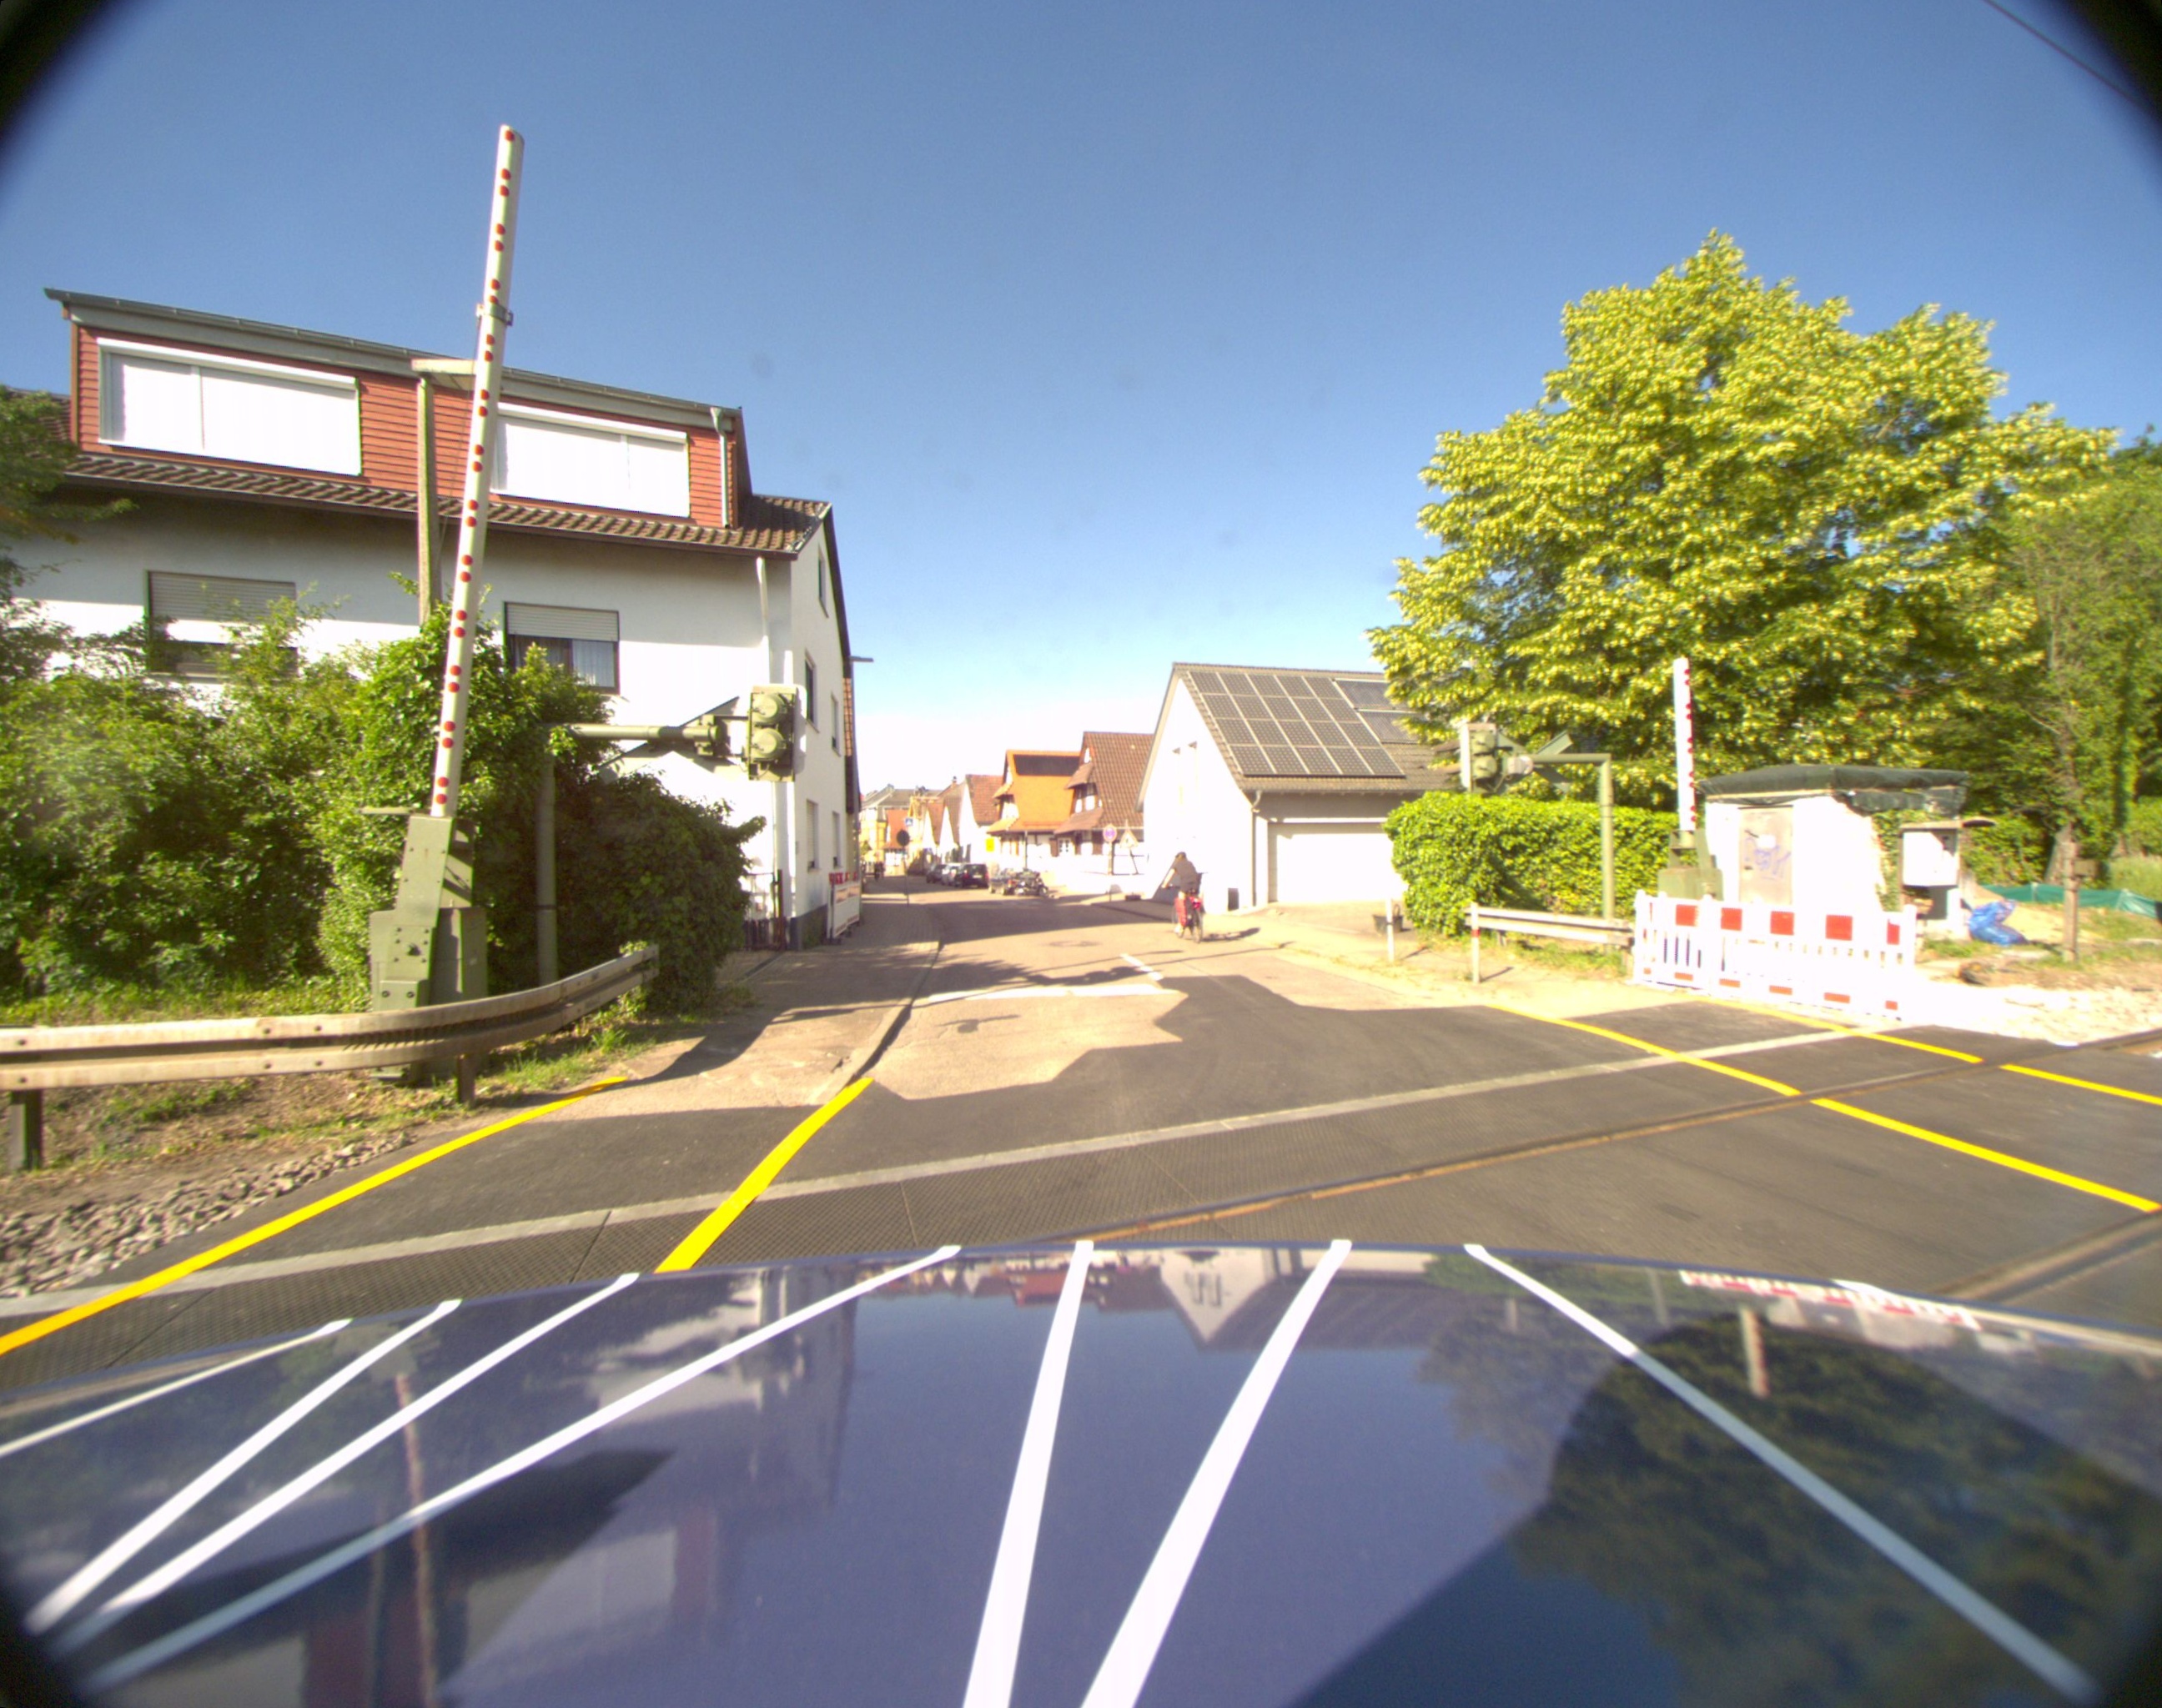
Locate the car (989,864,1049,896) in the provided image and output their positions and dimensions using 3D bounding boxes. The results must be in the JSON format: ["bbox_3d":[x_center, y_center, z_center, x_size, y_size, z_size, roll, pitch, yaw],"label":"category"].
[{"bbox_3d":[-3.170,1.233,37.751,1.852,1.398,5.028,0,0,-18],"label":"car"}]

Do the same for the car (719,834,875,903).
[{"bbox_3d":[-11.631,0.595,31.346,5.829,2.639,1.964,1,1,-22],"label":"car"}]

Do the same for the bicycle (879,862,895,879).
[{"bbox_3d":[-20.214,1.667,78.922,1.258,1.543,3.993,-4,2,-18],"label":"bicycle"}]

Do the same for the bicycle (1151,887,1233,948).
[{"bbox_3d":[2.056,1.171,14.446,0.886,0.999,2.061,0,0,-12],"label":"bicycle"}]

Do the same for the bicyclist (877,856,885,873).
[{"bbox_3d":[-18.699,1.007,71.047,0.611,1.525,0.654,-4,2,-21],"label":"bicyclist"}]

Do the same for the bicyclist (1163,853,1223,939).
[{"bbox_3d":[2.090,0.766,14.297,0.851,1.532,0.872,0,1,-12],"label":"bicyclist"}]

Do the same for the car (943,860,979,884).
[{"bbox_3d":[-8.544,1.220,53.787,1.824,1.558,4.161,-1,1,-18],"label":"car"}]

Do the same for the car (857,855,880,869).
[{"bbox_3d":[-28.106,1.026,100.497,1.884,1.870,4.824,0,0,-29],"label":"car"}]

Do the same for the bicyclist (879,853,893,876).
[{"bbox_3d":[-20.248,1.033,78.901,1.258,2.295,1.240,-4,2,-19],"label":"bicyclist"}]

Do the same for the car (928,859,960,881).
[{"bbox_3d":[-10.852,1.213,60.130,1.750,1.604,3.992,-1,1,-21],"label":"car"}]

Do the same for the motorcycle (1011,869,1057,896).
[{"bbox_3d":[-2.130,1.278,34.463,1.989,1.224,0.628,-1,0,26],"label":"motorcycle"}]

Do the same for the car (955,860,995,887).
[{"bbox_3d":[-6.863,1.210,48.757,1.791,1.595,4.354,-1,0,-18],"label":"car"}]

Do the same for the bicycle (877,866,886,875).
[{"bbox_3d":[-18.670,1.542,71.068,0.625,0.774,1.909,-4,2,-20],"label":"bicycle"}]
